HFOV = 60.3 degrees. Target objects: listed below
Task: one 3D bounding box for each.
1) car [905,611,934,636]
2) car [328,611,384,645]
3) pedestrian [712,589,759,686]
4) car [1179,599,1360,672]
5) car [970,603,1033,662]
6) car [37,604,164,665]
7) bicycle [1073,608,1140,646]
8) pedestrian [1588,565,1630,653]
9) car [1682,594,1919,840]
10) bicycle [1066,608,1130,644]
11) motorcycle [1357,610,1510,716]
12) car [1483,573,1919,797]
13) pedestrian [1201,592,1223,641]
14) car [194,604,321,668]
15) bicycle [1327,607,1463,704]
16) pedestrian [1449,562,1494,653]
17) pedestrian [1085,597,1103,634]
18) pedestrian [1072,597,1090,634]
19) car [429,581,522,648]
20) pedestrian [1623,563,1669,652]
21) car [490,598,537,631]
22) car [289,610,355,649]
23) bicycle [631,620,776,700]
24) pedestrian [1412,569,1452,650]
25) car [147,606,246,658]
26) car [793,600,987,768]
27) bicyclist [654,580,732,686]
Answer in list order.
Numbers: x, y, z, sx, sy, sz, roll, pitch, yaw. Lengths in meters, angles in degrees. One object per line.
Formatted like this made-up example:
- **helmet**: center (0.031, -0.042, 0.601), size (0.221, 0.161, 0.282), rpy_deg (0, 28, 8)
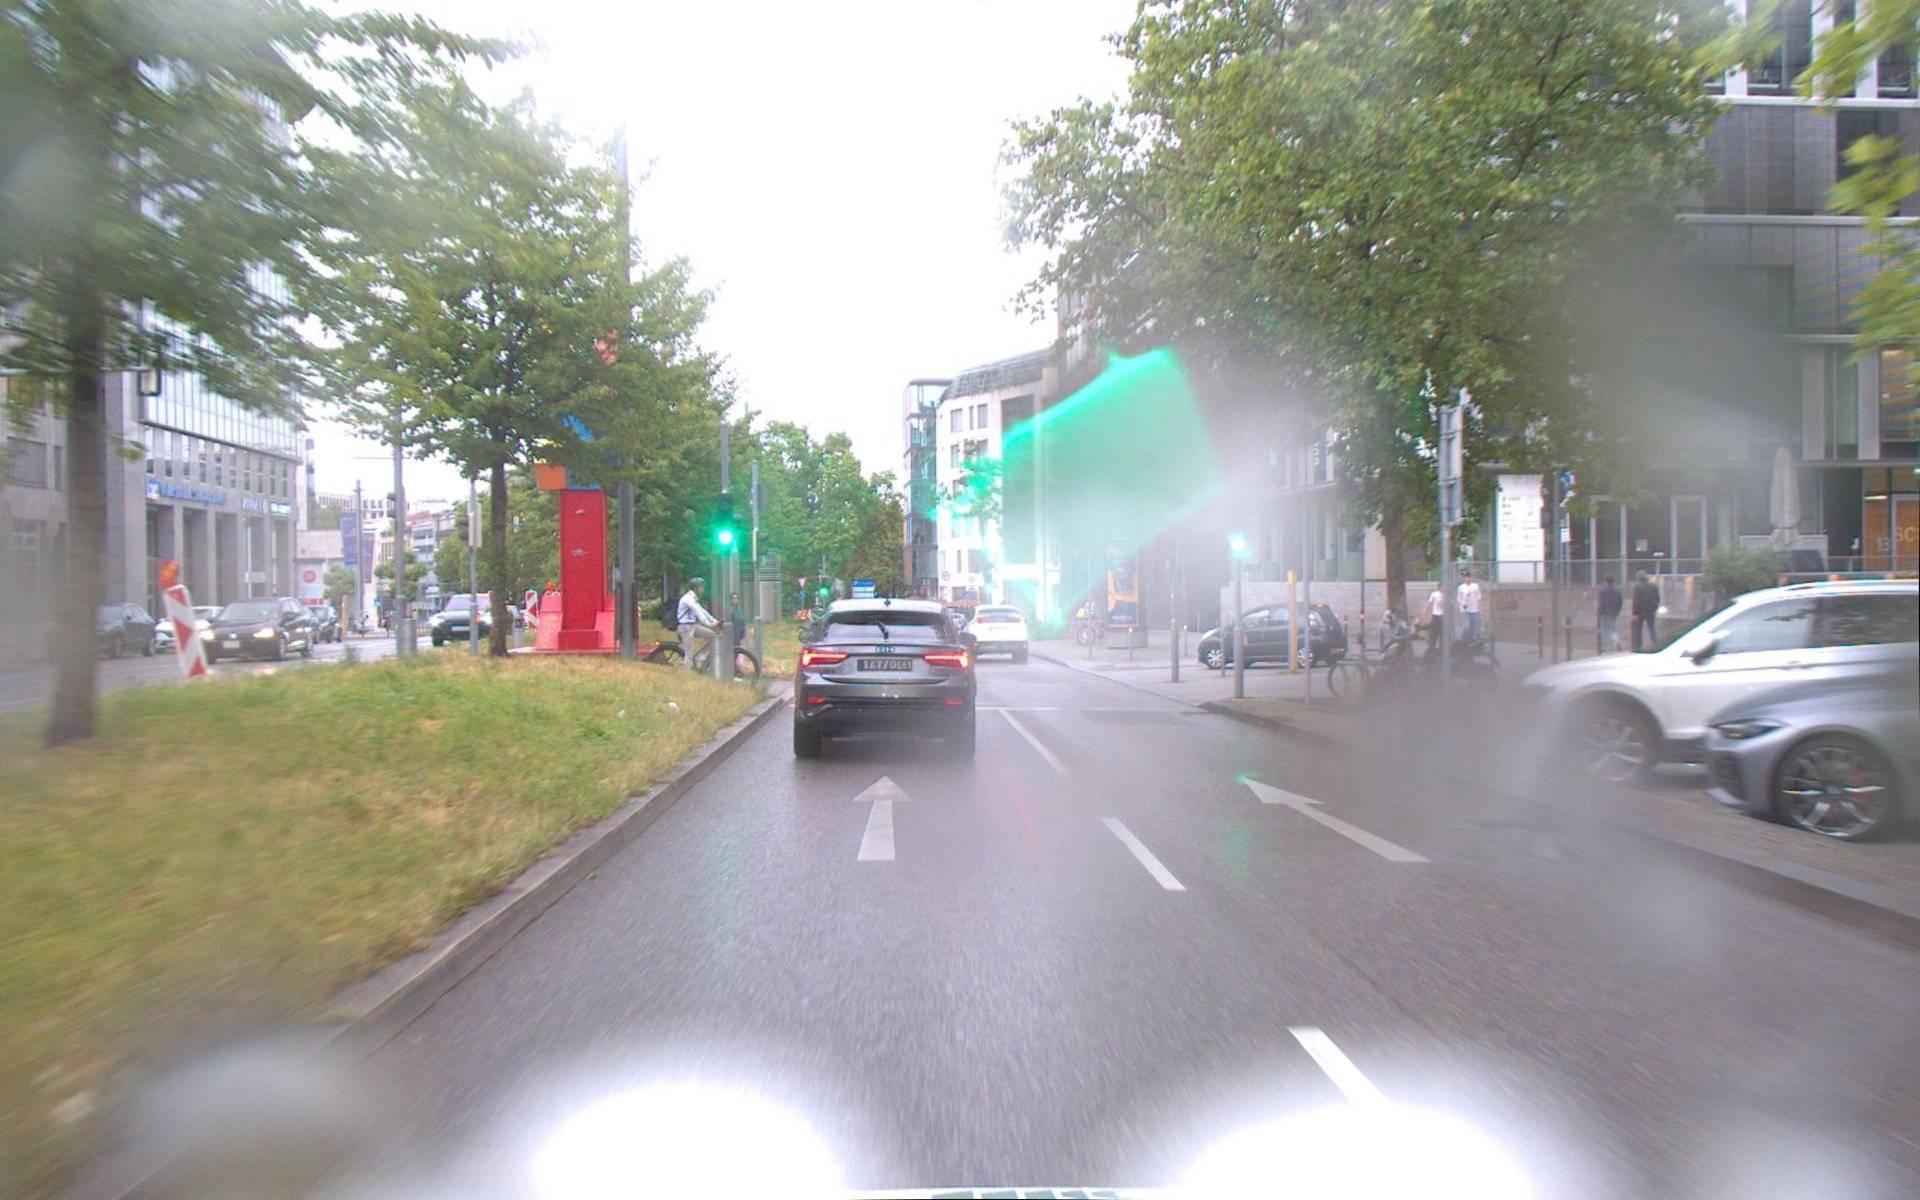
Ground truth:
- **car**: center (-2.591, 1.481, 105.966), size (1.812, 1.550, 4.037), rpy_deg (0, 0, -2)
- **car**: center (-30.065, 1.395, 82.389), size (1.775, 1.575, 3.992), rpy_deg (-1, -1, -8)
- **pedestrian**: center (-4.299, 0.712, 31.650), size (0.647, 1.825, 0.751), rpy_deg (0, -1, 12)
- **car**: center (7.083, 0.796, 38.018), size (3.795, 1.595, 1.658), rpy_deg (0, -1, 42)
- **car**: center (1.207, 0.944, 50.155), size (1.811, 1.698, 4.038), rpy_deg (0, 0, 0)
- **car**: center (-23.826, 0.938, 45.989), size (1.840, 1.563, 4.069), rpy_deg (-1, -1, -8)
- **bicycle**: center (5.269, 0.970, 59.575), size (2.293, 1.335, 0.709), rpy_deg (0, 0, -8)
- **pedestrian**: center (13.895, 0.194, 35.417), size (0.626, 1.814, 0.771), rpy_deg (-4, -1, 15)
- **car**: center (7.060, 0.710, 10.704), size (4.212, 1.515, 1.840), rpy_deg (-1, 0, 29)
- **bicycle**: center (5.127, 0.962, 61.443), size (2.293, 1.335, 0.709), rpy_deg (0, 0, -8)
- **motorcycle**: center (6.650, 0.873, 23.304), size (1.985, 1.440, 0.726), rpy_deg (1, -1, 8)
- **car**: center (6.697, 0.656, 13.887), size (4.135, 1.698, 1.837), rpy_deg (-1, 0, 27)
- **pedestrian**: center (11.011, 0.722, 72.232), size (0.916, 2.152, 1.076), rpy_deg (0, -1, 11)
- **car**: center (-16.552, 0.803, 39.144), size (1.772, 1.333, 3.992), rpy_deg (-2, 1, -9)
- **bicycle**: center (6.697, 0.850, 25.540), size (1.940, 1.440, 0.726), rpy_deg (1, -1, 8)
- **pedestrian**: center (12.379, 0.180, 40.038), size (0.916, 2.152, 1.076), rpy_deg (0, -1, 11)
- **pedestrian**: center (7.491, 0.885, 92.301), size (0.838, 2.049, 0.975), rpy_deg (1, -1, -5)
- **pedestrian**: center (6.828, 0.894, 93.448), size (0.838, 2.049, 0.975), rpy_deg (1, -1, -5)
- **car**: center (-14.377, 0.401, 49.256), size (1.956, 1.858, 3.994), rpy_deg (-2, 1, -7)
- **pedestrian**: center (14.506, 0.152, 35.006), size (0.651, 1.814, 0.920), rpy_deg (-4, -1, 15)
- **car**: center (-22.782, 0.711, 84.562), size (1.699, 1.585, 3.994), rpy_deg (-2, 1, -7)
- **car**: center (-27.541, 1.263, 71.508), size (1.775, 1.575, 3.992), rpy_deg (-1, -1, -8)
- **bicycle**: center (-4.169, 0.973, 27.045), size (2.209, 1.182, 0.750), rpy_deg (3, -1, -1)
- **pedestrian**: center (11.438, 0.243, 40.108), size (0.848, 1.937, 0.886), rpy_deg (0, -1, 11)
- **car**: center (-24.668, 1.009, 53.569), size (1.775, 1.575, 3.992), rpy_deg (-1, -1, -8)
- **car**: center (-0.678, 0.783, 17.519), size (1.812, 1.550, 4.038), rpy_deg (0, 0, -1)
- **bicyclist**: center (-4.352, 0.534, 27.052), size (1.082, 1.650, 0.750), rpy_deg (3, -1, -1)
